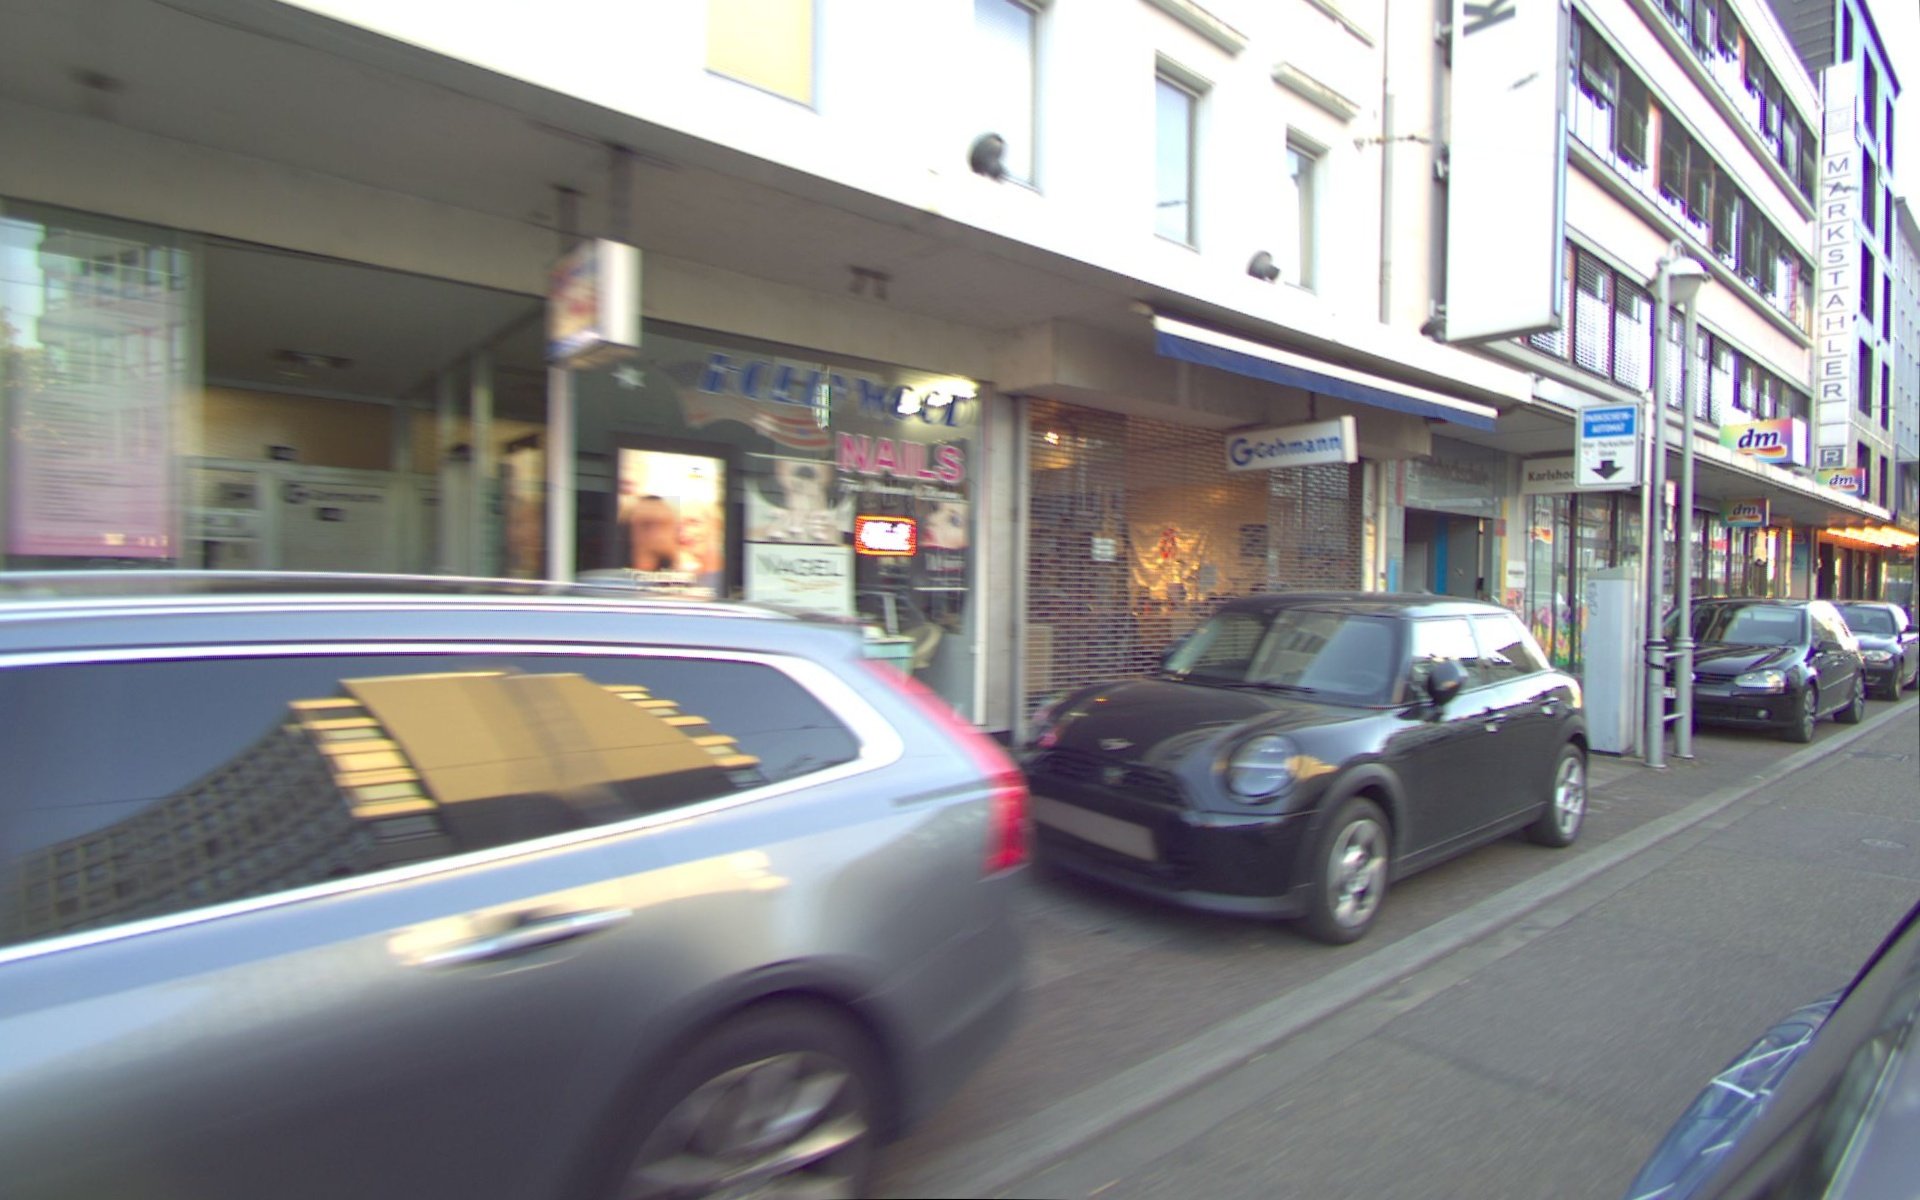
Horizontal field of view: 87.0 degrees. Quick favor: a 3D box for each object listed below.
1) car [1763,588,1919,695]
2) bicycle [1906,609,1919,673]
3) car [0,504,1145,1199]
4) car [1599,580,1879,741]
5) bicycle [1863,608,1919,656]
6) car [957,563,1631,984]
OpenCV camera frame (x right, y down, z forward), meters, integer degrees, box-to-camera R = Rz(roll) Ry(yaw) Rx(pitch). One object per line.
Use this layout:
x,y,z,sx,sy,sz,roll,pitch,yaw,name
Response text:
14.306,0.566,16.115,3.952,1.481,1.657,-1,0,-41,car
17.802,0.751,17.667,0.631,1.123,1.841,-1,1,-43,bicycle
-1.906,0.675,1.665,4.773,1.552,1.794,-1,0,-42,car
9.060,0.555,11.653,4.000,1.532,1.768,-1,0,-41,car
21.180,0.728,22.319,0.566,0.984,1.797,0,4,-43,bicycle
2.039,0.593,5.556,3.930,1.500,1.729,-1,0,-41,car
